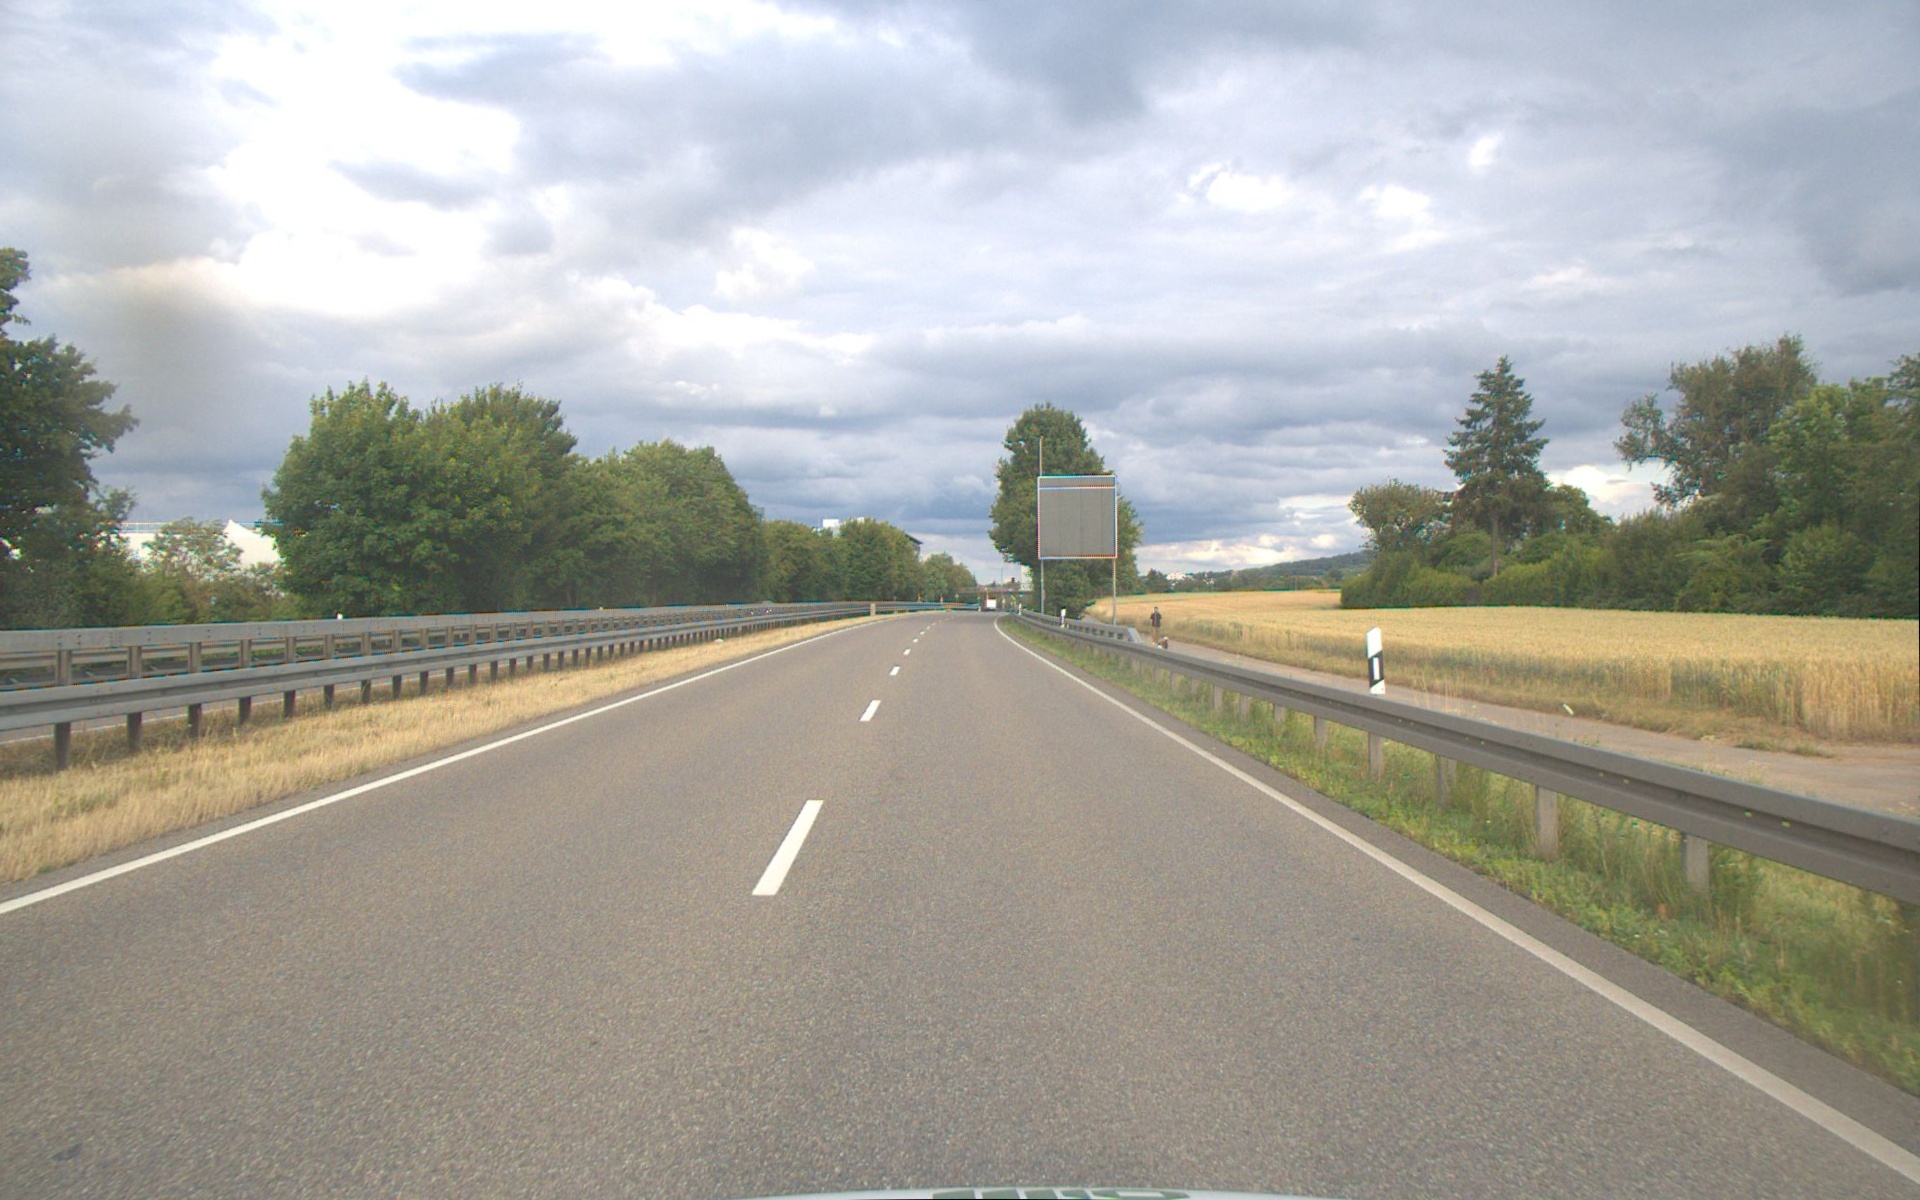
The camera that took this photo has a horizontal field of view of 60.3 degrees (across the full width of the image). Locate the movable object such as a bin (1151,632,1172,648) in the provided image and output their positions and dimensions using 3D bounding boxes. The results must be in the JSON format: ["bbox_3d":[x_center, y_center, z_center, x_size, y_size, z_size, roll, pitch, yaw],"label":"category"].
[{"bbox_3d":[8.787,1.760,72.196,0.717,0.657,1.235,2,0,-1],"label":"movable object such as a bin"}]

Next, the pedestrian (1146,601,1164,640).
[{"bbox_3d":[9.753,1.038,82.620,0.755,1.900,0.940,1,-1,-1],"label":"pedestrian"}]
